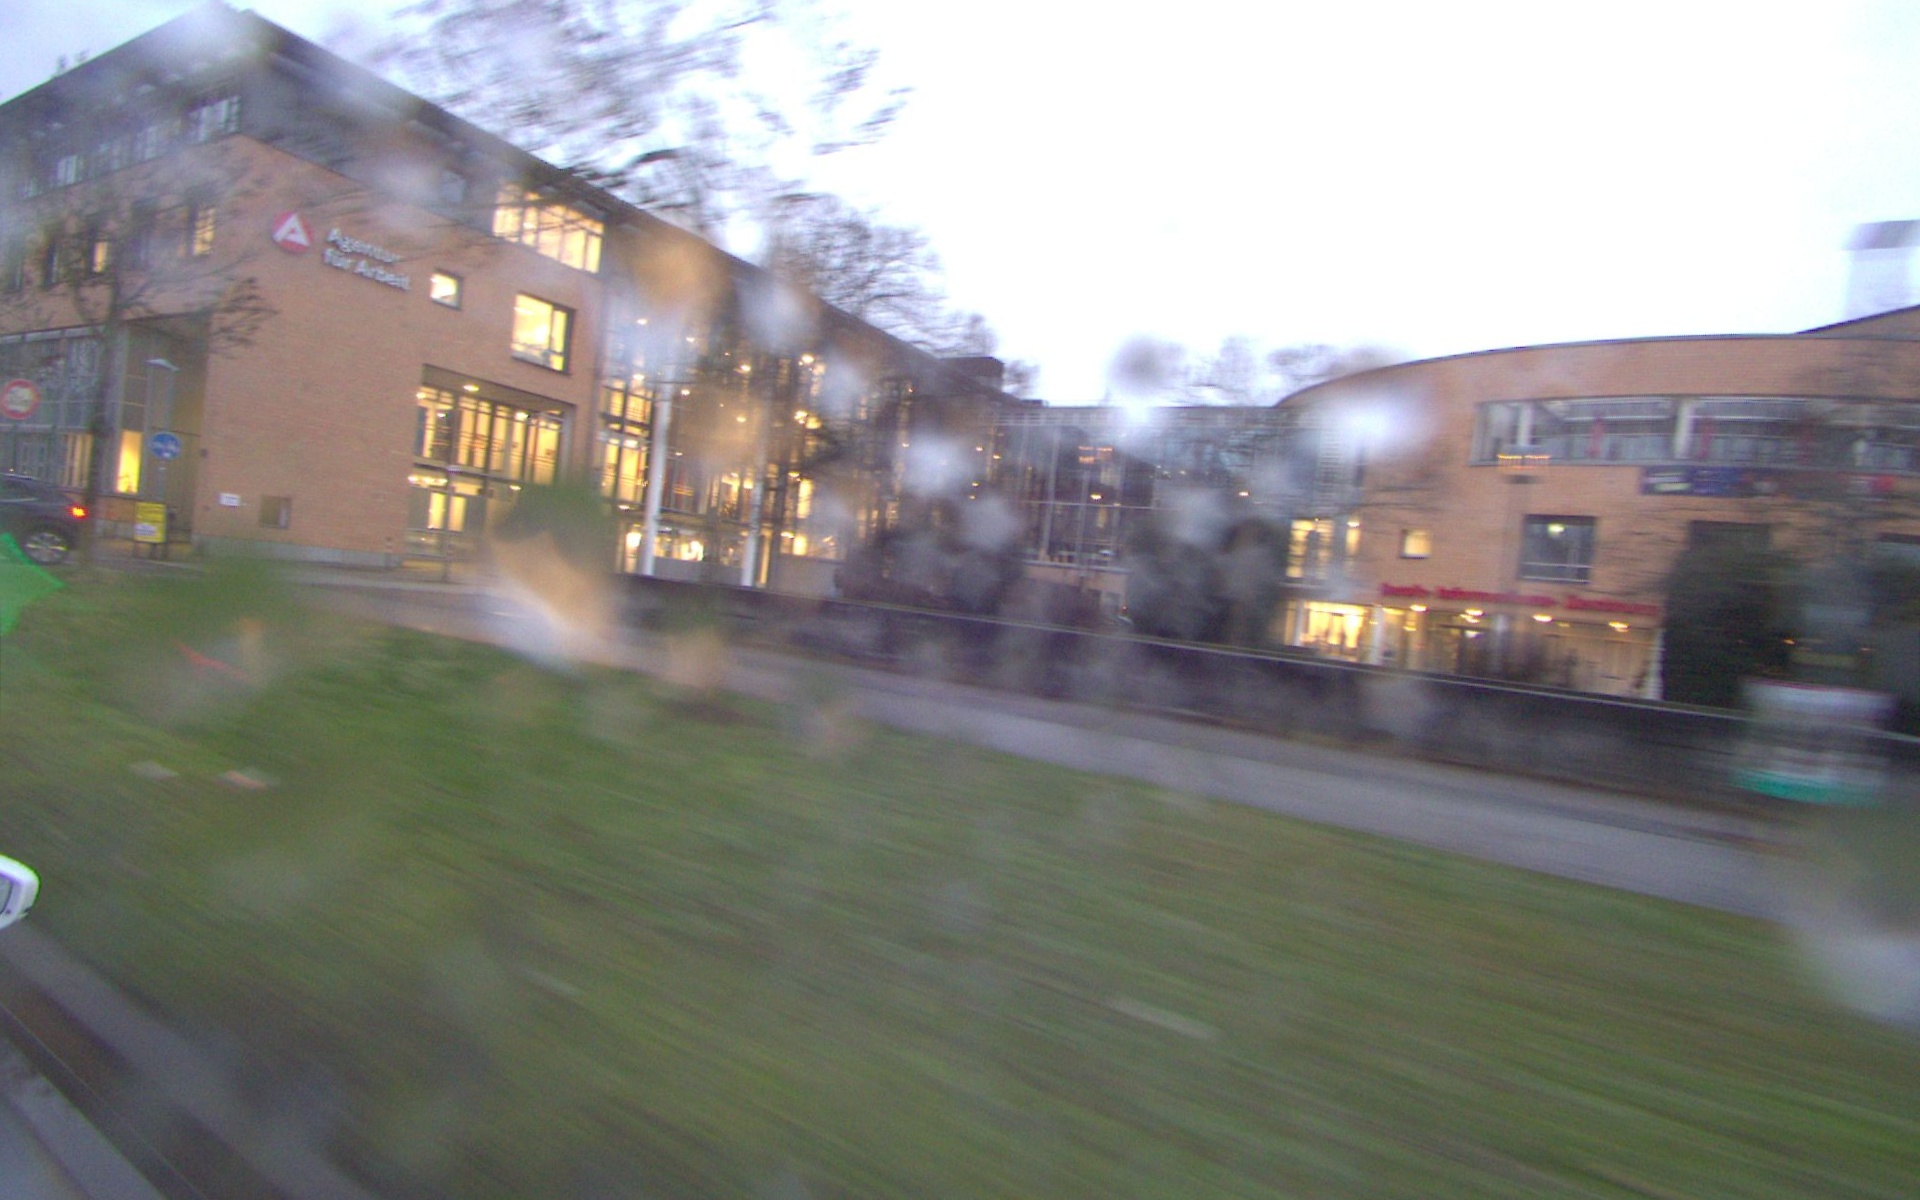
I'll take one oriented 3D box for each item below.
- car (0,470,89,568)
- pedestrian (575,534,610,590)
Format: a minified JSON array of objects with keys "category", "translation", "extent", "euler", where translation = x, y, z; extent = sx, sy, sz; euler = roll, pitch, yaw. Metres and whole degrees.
[{"category":"car","translation":[-17.161,-1.474,16.617],"extent":[1.737,1.582,3.858],"euler":[7,3,33]},{"category":"pedestrian","translation":[-11.610,-1.207,31.799],"extent":[0.726,1.658,0.630],"euler":[7,2,38]}]
